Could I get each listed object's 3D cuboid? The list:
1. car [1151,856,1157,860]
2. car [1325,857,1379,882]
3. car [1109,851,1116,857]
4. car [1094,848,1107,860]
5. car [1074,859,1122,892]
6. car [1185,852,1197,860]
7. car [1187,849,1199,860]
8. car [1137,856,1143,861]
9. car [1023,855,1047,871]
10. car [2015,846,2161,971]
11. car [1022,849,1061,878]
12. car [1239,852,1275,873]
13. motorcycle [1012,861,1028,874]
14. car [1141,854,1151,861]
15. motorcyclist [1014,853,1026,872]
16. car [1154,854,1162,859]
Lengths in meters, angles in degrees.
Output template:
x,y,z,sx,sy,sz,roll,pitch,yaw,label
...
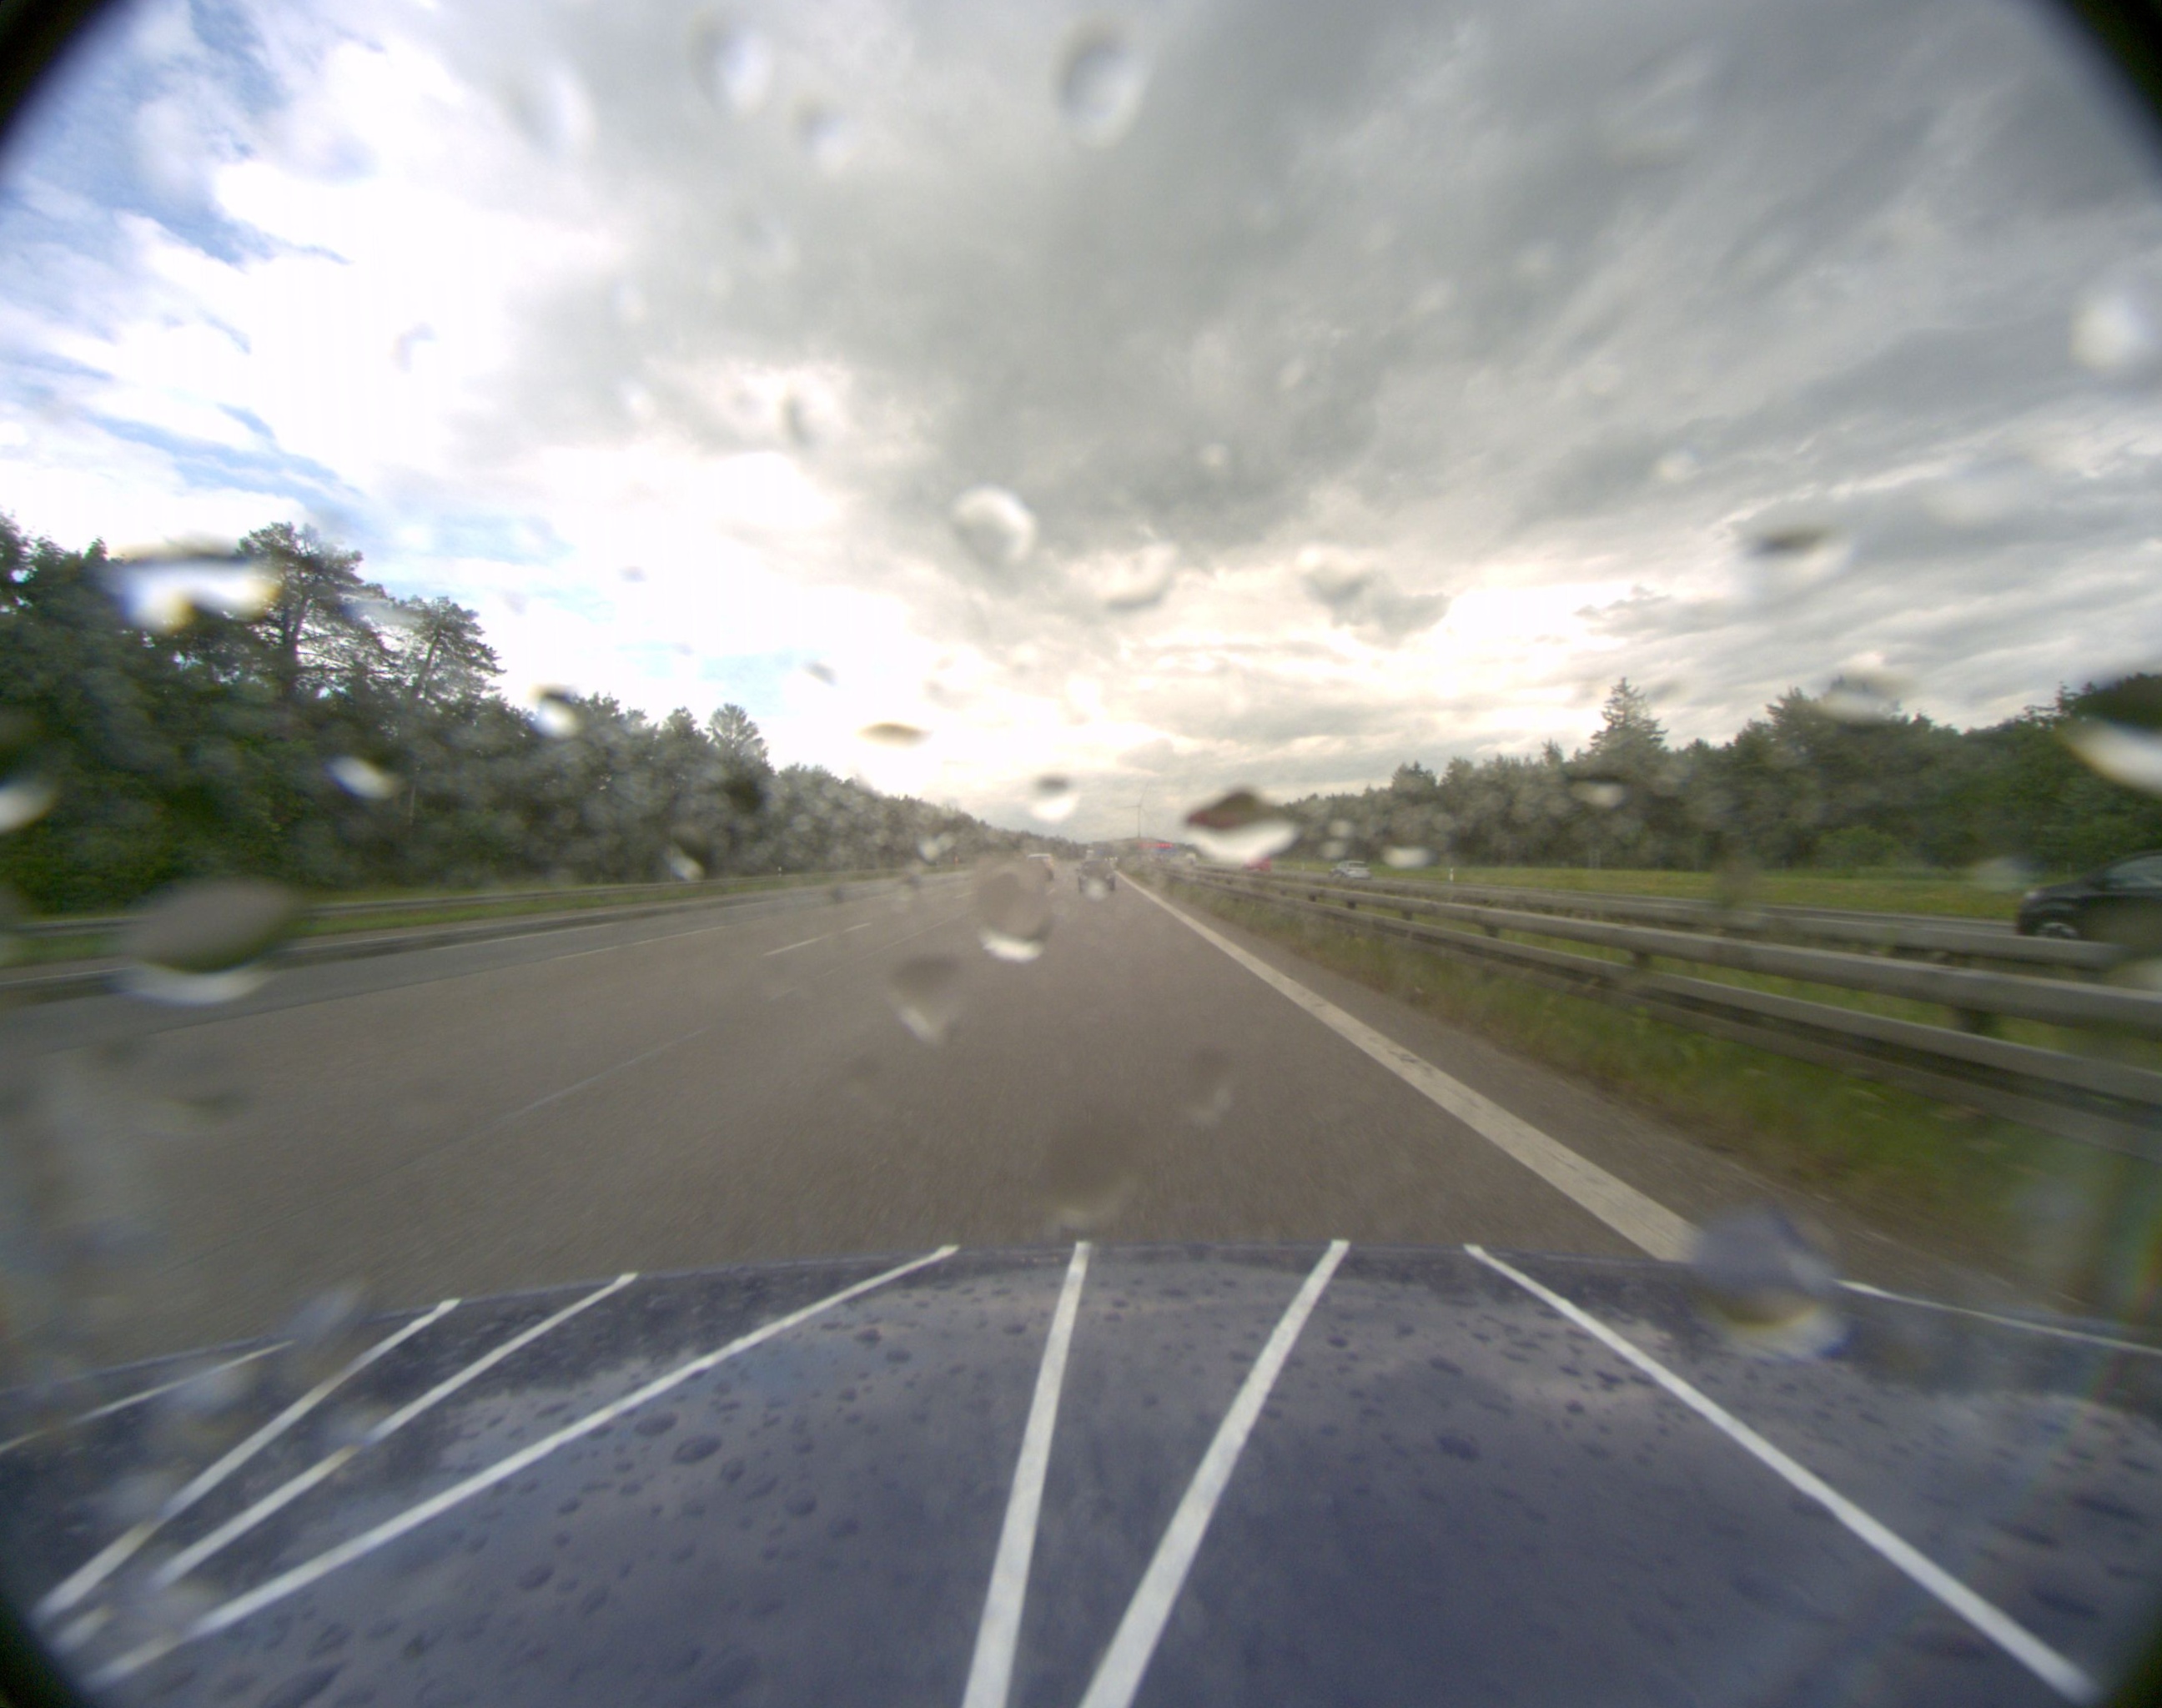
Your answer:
x,y,z,sx,sy,sz,roll,pitch,yaw,label
24.421,1.276,255.256,1.702,1.479,4.001,0,0,2,car
18.093,0.992,50.901,1.998,1.492,4.608,1,0,1,car
9.727,0.001,236.629,2.179,2.002,4.362,-2,0,1,car
3.304,-0.001,130.848,1.998,2.002,4.000,-3,0,1,car
0.839,0.958,35.229,1.809,1.321,4.433,-1,0,6,car
21.539,0.395,149.080,1.879,1.463,4.000,0,0,0,car
27.433,0.108,185.651,2.103,2.496,6.584,1,0,2,car
19.382,1.556,251.182,1.775,1.530,4.001,0,0,2,car
-5.813,1.141,96.944,1.997,2.002,5.486,-2,0,7,car
17.469,0.865,11.017,1.998,1.906,4.724,2,0,1,car
-2.659,0.621,52.715,1.968,1.890,4.883,-1,0,5,car
14.552,0.683,62.985,1.998,1.600,4.608,-1,0,1,car
-5.326,1.156,66.349,1.002,1.025,2.174,-1,0,5,motorcycle
14.404,0.829,167.584,1.879,1.423,4.000,0,0,0,car
-5.336,0.712,66.304,0.893,1.605,0.959,-1,0,5,motorcyclist
19.815,0.701,196.353,1.702,1.317,4.668,1,0,2,car
